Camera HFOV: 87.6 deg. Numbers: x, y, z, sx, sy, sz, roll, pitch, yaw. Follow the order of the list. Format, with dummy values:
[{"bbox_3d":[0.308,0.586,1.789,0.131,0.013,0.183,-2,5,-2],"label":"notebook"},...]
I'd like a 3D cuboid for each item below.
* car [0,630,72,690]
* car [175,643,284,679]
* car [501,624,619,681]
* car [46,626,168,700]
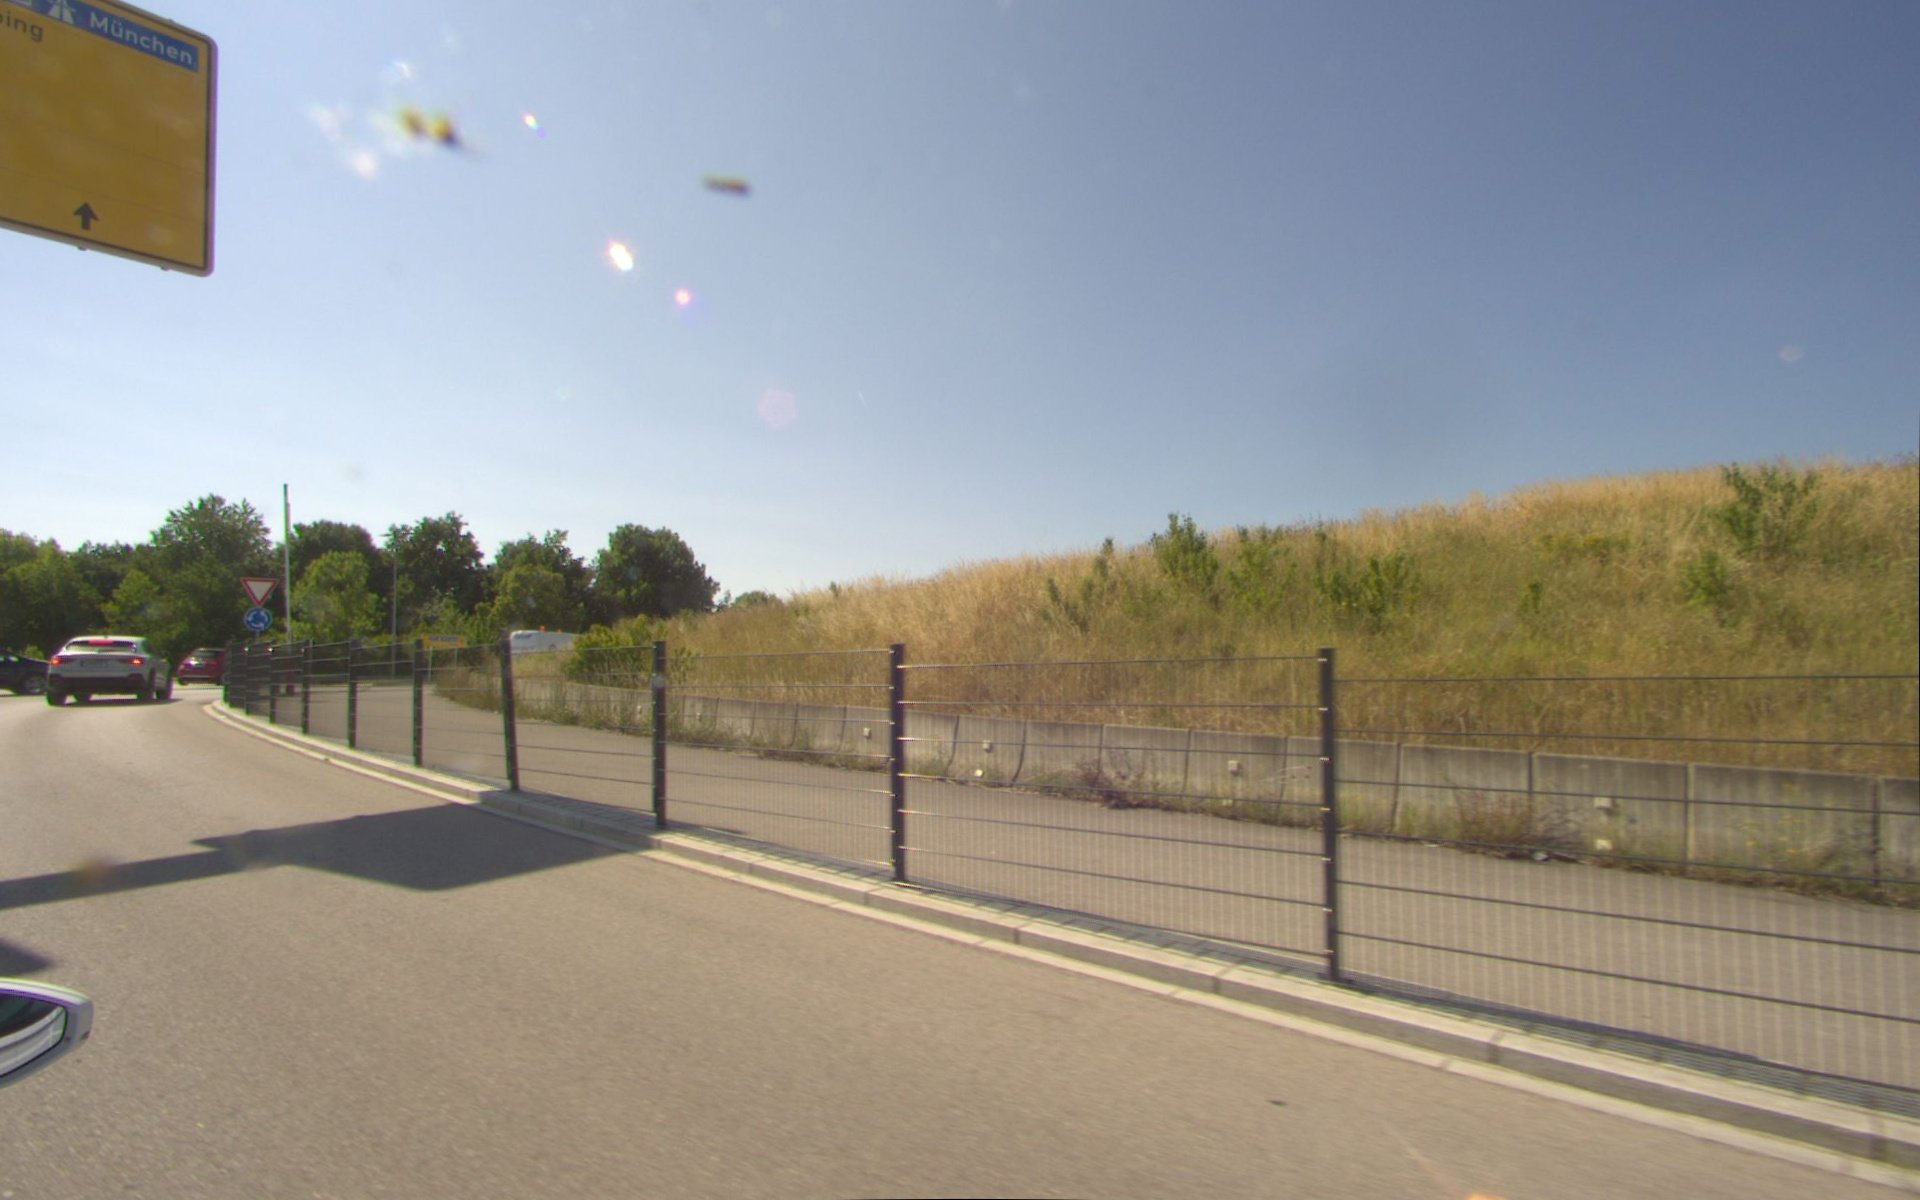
[{"bbox_3d":[-27.294,1.641,27.549,1.795,1.637,3.940,-2,-5,36],"label":"car"},{"bbox_3d":[-30.317,2.570,41.700,1.594,1.422,3.822,1,-4,2],"label":"car"},{"bbox_3d":[-19.569,2.651,49.397,2.052,2.585,6.193,0,-4,16],"label":"car"},{"bbox_3d":[-20.401,1.507,24.115,1.824,1.615,4.297,2,-4,-35],"label":"car"}]
